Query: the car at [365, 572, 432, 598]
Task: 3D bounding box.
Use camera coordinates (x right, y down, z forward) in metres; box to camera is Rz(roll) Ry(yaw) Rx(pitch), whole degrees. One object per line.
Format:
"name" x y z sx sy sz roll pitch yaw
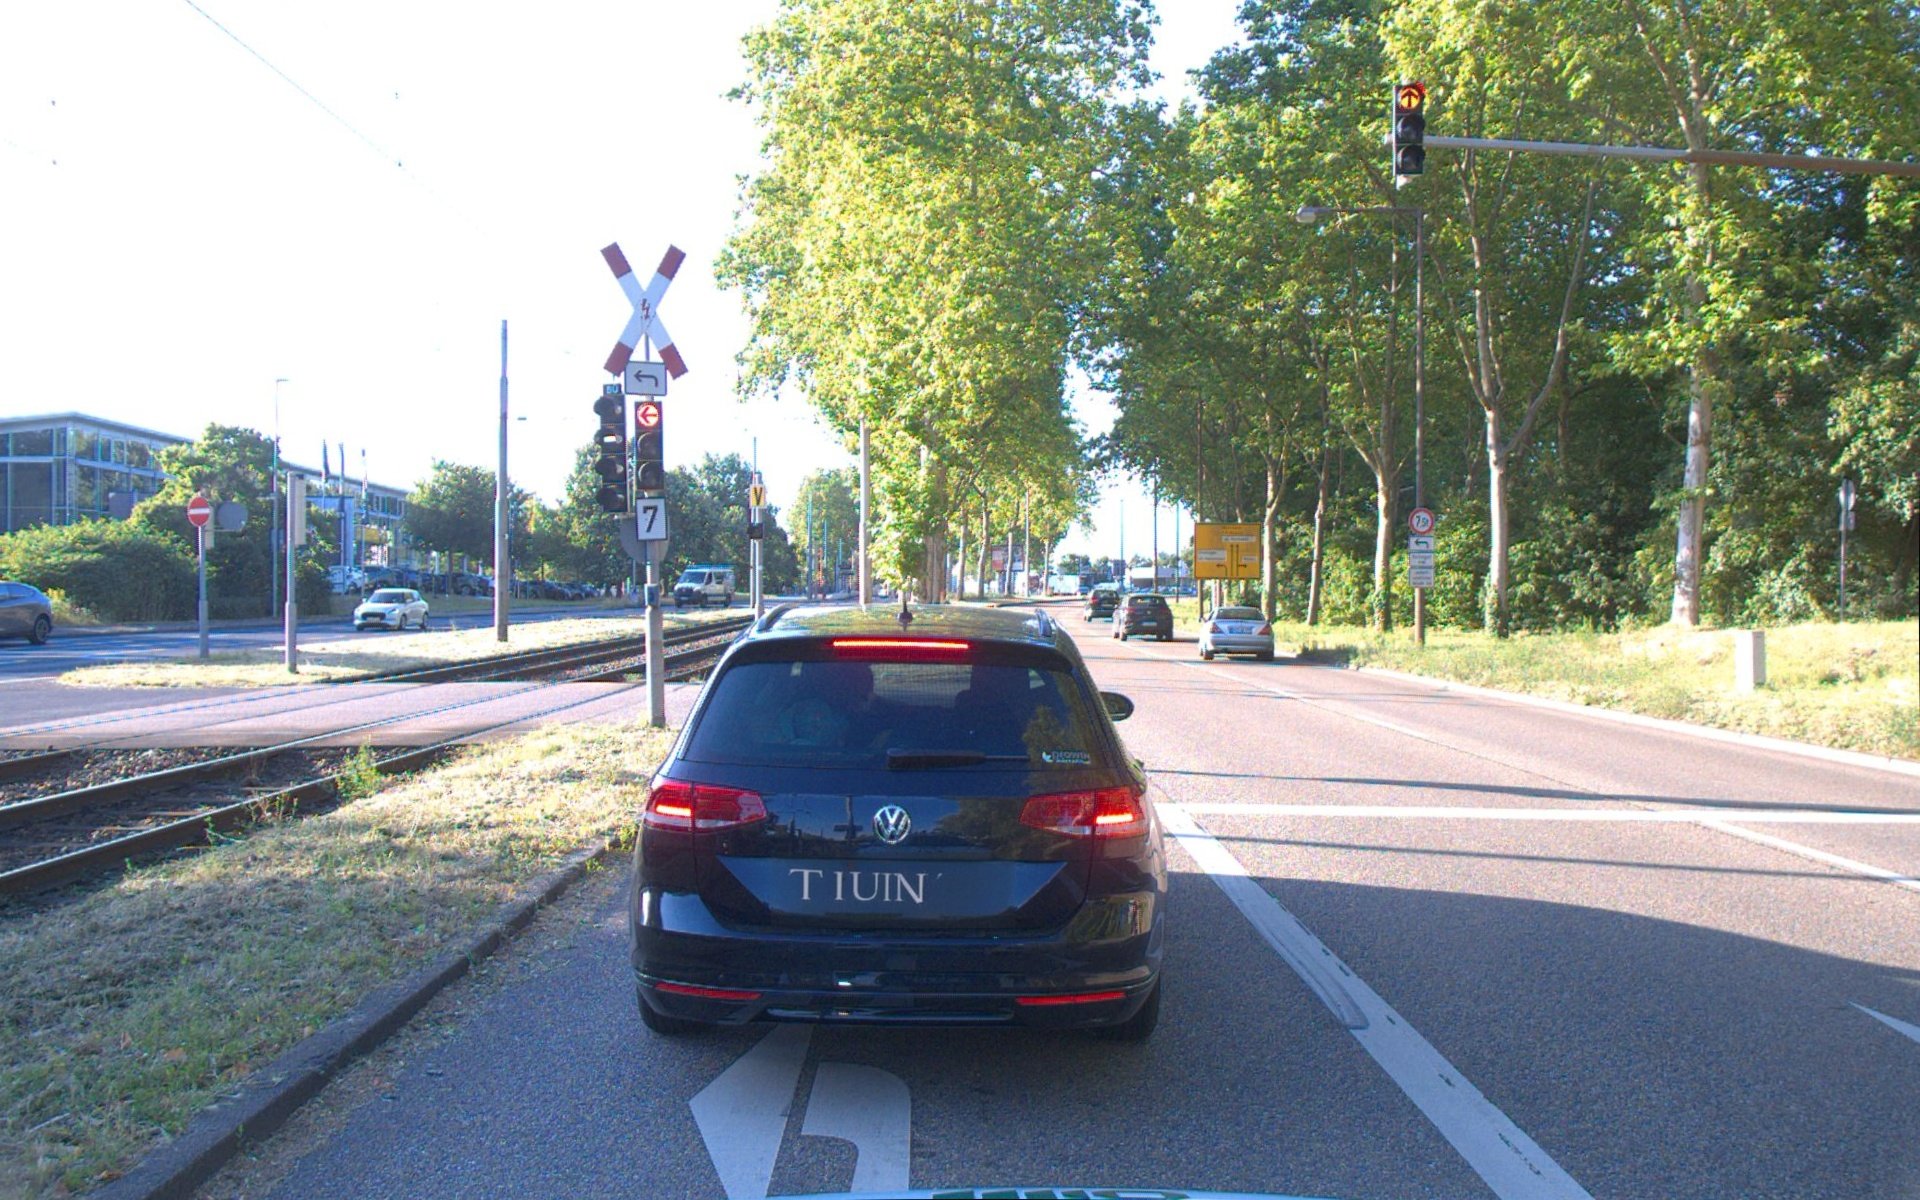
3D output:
"car" -35.551 -0.955 104.706 3.930 1.583 1.732 1 0 -22

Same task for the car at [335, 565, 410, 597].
"car" -32.918 -1.048 92.711 3.930 1.734 1.732 1 0 -22

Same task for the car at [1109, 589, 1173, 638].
"car" 6.058 0.435 55.701 1.672 1.588 4.165 0 0 -1

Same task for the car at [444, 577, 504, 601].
"car" -35.580 -0.813 121.250 3.909 1.649 1.742 1 0 -6

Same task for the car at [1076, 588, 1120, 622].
"car" 6.942 0.230 83.515 1.834 1.663 4.370 0 0 0

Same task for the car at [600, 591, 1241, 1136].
"car" -0.141 0.731 6.389 1.758 1.490 3.582 1 0 -1

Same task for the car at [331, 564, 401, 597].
"car" -35.556 -1.153 99.012 3.930 1.848 1.732 1 0 -22

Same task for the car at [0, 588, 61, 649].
"car" -25.118 0.468 42.372 1.823 1.507 4.172 1 1 1

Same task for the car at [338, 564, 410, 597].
"car" -34.449 -1.121 97.275 3.930 1.848 1.732 1 0 -22

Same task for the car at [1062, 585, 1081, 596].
"car" 14.300 -1.220 212.558 1.954 1.445 3.996 1 0 -4

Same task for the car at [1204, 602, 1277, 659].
"car" 6.943 0.725 41.228 1.574 1.317 3.986 1 0 7

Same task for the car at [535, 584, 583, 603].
"car" -35.231 -0.566 145.369 3.909 1.649 1.742 1 0 -6

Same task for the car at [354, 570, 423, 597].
"car" -35.210 -0.982 101.928 3.930 1.583 1.732 1 0 -22

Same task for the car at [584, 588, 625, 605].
"car" -35.976 -0.343 167.430 3.909 1.583 1.742 1 0 -5

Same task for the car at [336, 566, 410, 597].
"car" -33.700 -1.057 94.949 3.930 1.734 1.732 1 0 -22

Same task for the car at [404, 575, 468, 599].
"car" -36.047 -0.869 113.796 3.913 1.583 1.740 1 0 -9

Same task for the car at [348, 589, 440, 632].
"car" -21.093 0.376 61.808 1.823 1.507 4.093 1 1 3

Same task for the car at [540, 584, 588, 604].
"car" -35.528 -0.540 148.527 3.909 1.649 1.742 1 0 -6

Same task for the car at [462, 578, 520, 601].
"car" -35.250 -0.772 124.466 3.909 1.649 1.742 1 0 -6

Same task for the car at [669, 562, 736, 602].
"car" -16.634 -1.139 107.145 2.051 2.504 5.856 1 1 16
